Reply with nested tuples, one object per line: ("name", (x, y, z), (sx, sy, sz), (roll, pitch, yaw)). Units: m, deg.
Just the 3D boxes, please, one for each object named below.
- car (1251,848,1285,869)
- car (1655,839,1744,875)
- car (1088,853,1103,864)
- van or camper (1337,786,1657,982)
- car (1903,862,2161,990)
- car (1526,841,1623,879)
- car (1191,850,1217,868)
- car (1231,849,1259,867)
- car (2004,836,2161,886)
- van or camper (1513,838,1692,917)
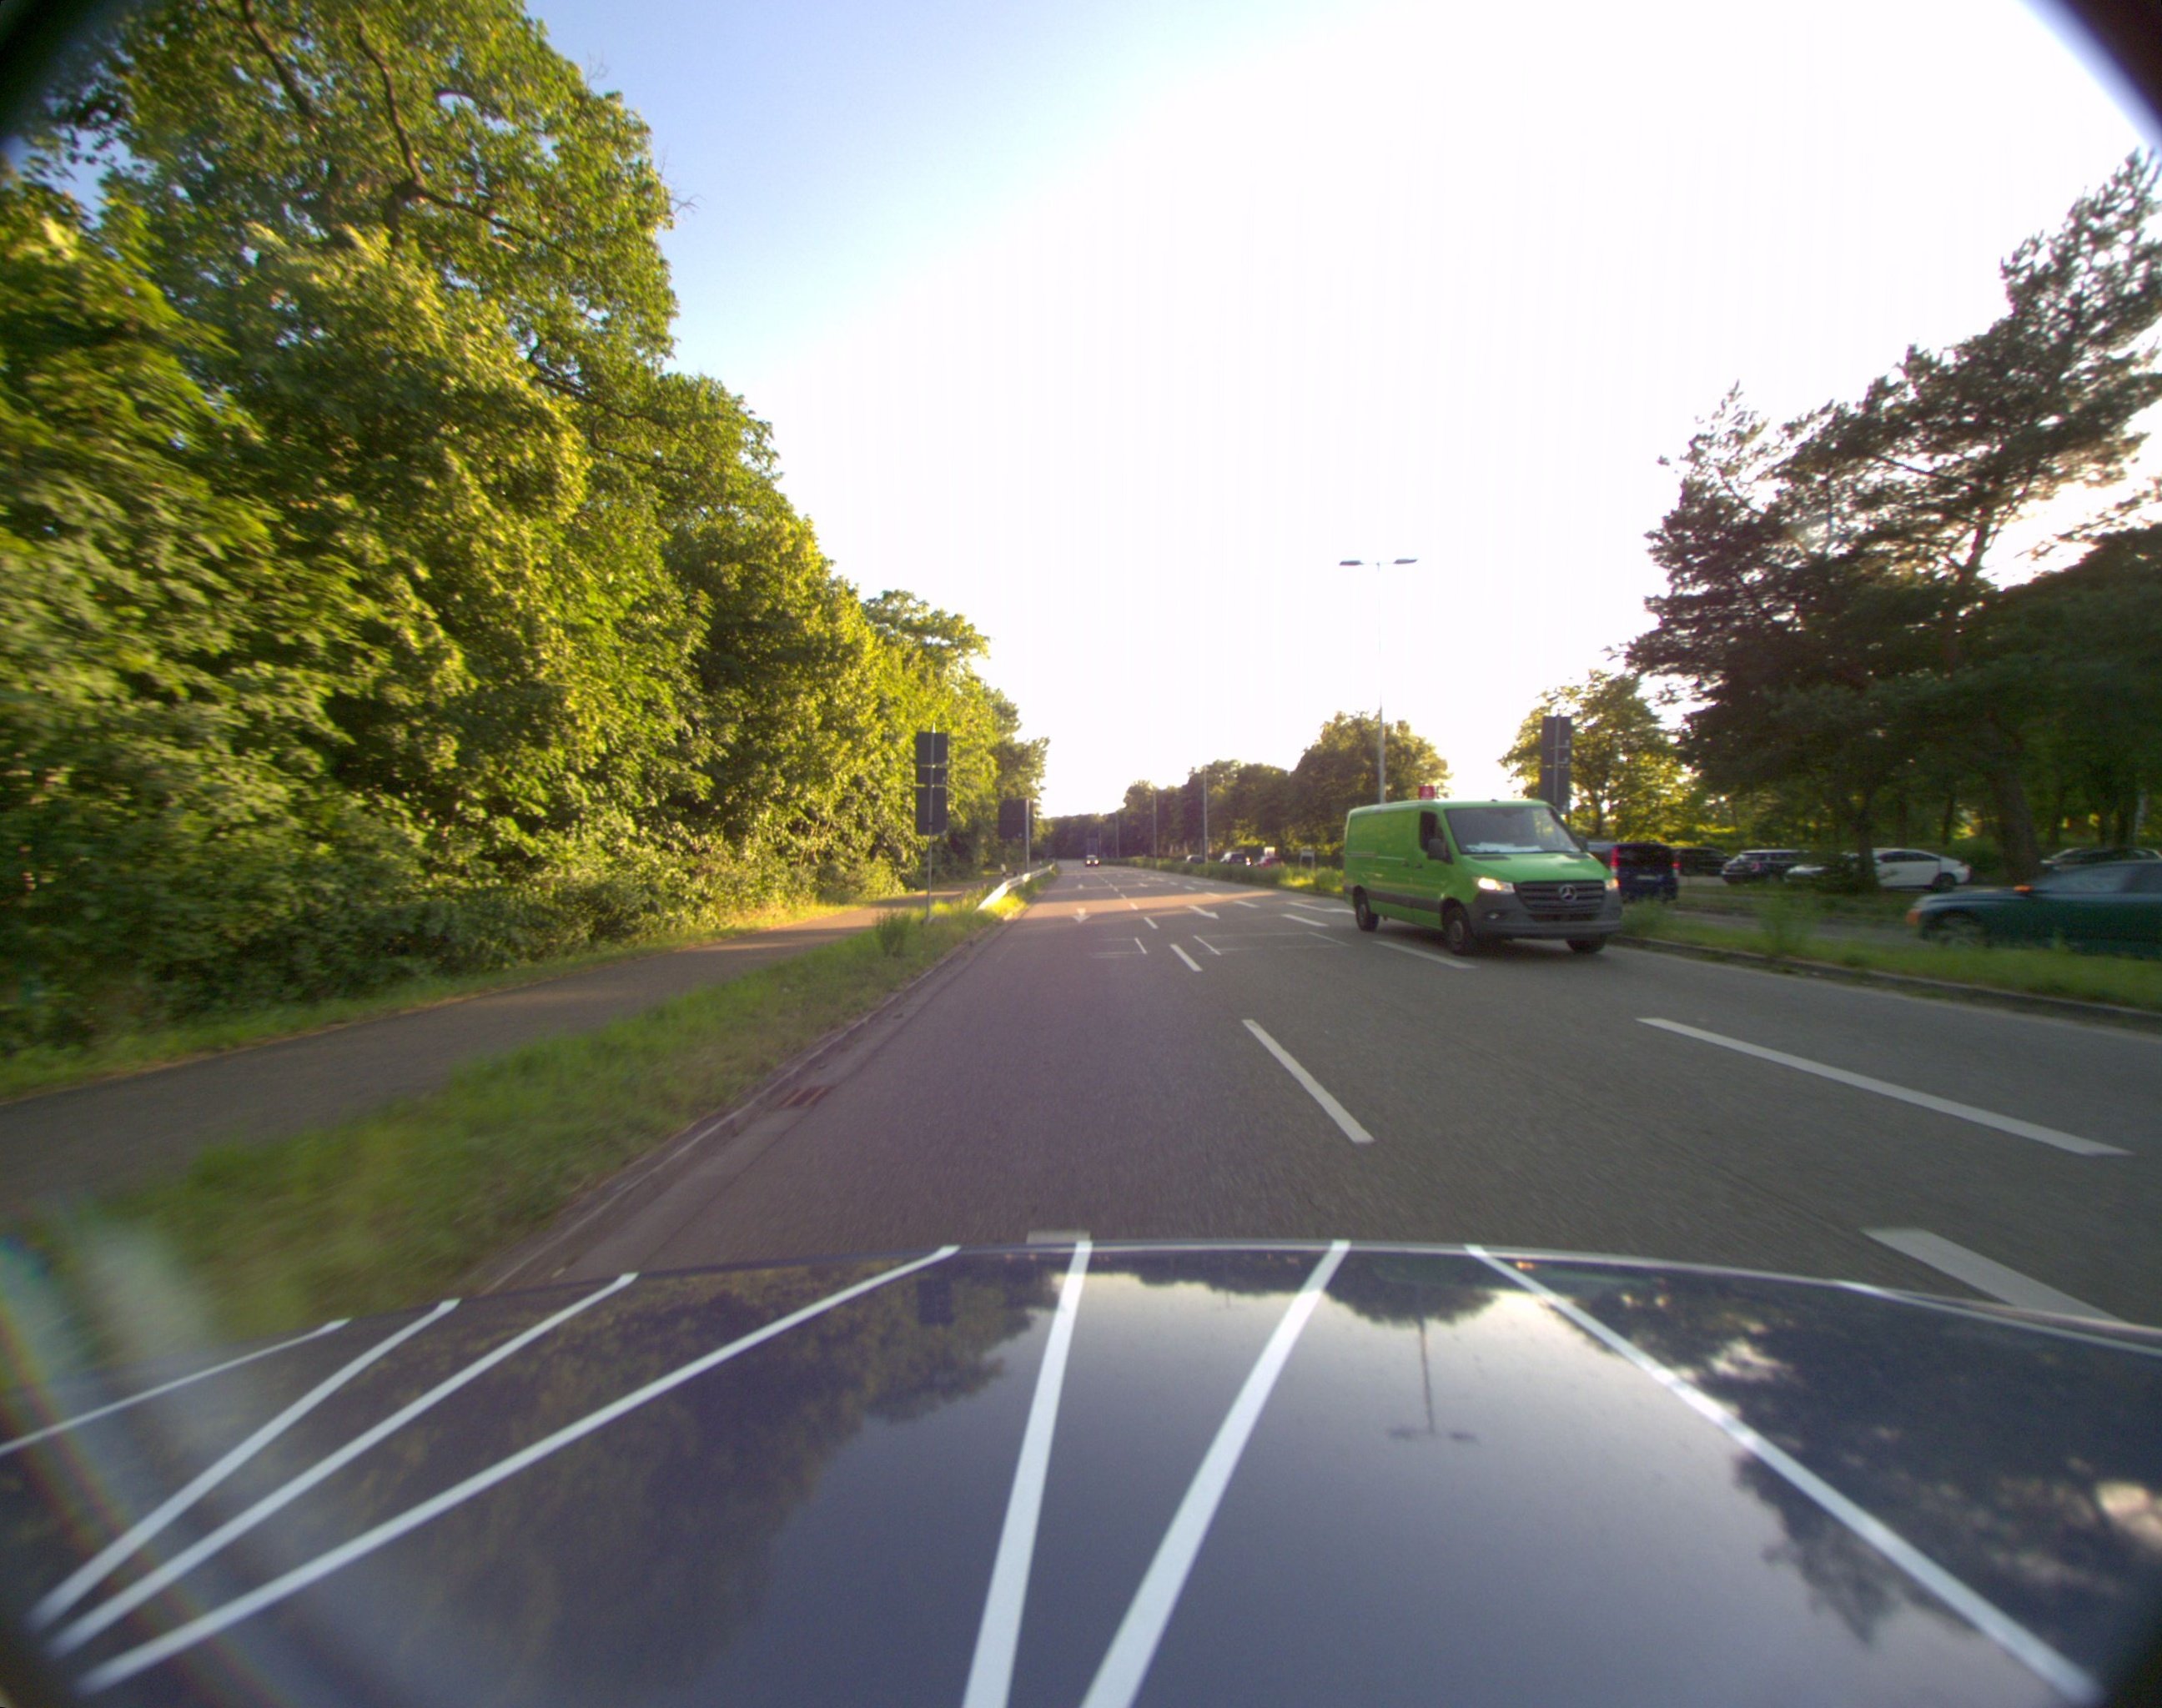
("car", (15.206, 0.360, 61.965), (1.760, 1.532, 3.999), (-2, 1, 1))
("car", (36.101, 0.153, 44.489), (1.998, 2.002, 4.000), (0, 0, 1))
("car", (1.993, 0.620, 107.874), (1.999, 1.543, 3.999), (-1, 0, -1))
("van or camper", (6.157, 0.376, 12.361), (1.998, 2.407, 5.896), (-1, 0, 0))
("car", (13.854, 0.868, 9.559), (1.999, 1.486, 4.511), (-1, 0, -4))
("car", (25.890, 0.286, 39.956), (3.997, 1.932, 1.766), (0, 0, 0))
("car", (11.423, 0.478, 70.892), (1.760, 1.532, 3.999), (-2, 1, 1))
("car", (15.020, 0.371, 69.767), (1.760, 1.532, 3.999), (-2, 1, 1))
("car", (35.134, 0.229, 26.375), (3.996, 1.641, 1.767), (-1, 0, 2))
("van or camper", (14.721, 0.608, 21.832), (1.998, 2.002, 4.578), (-1, 0, 0))
